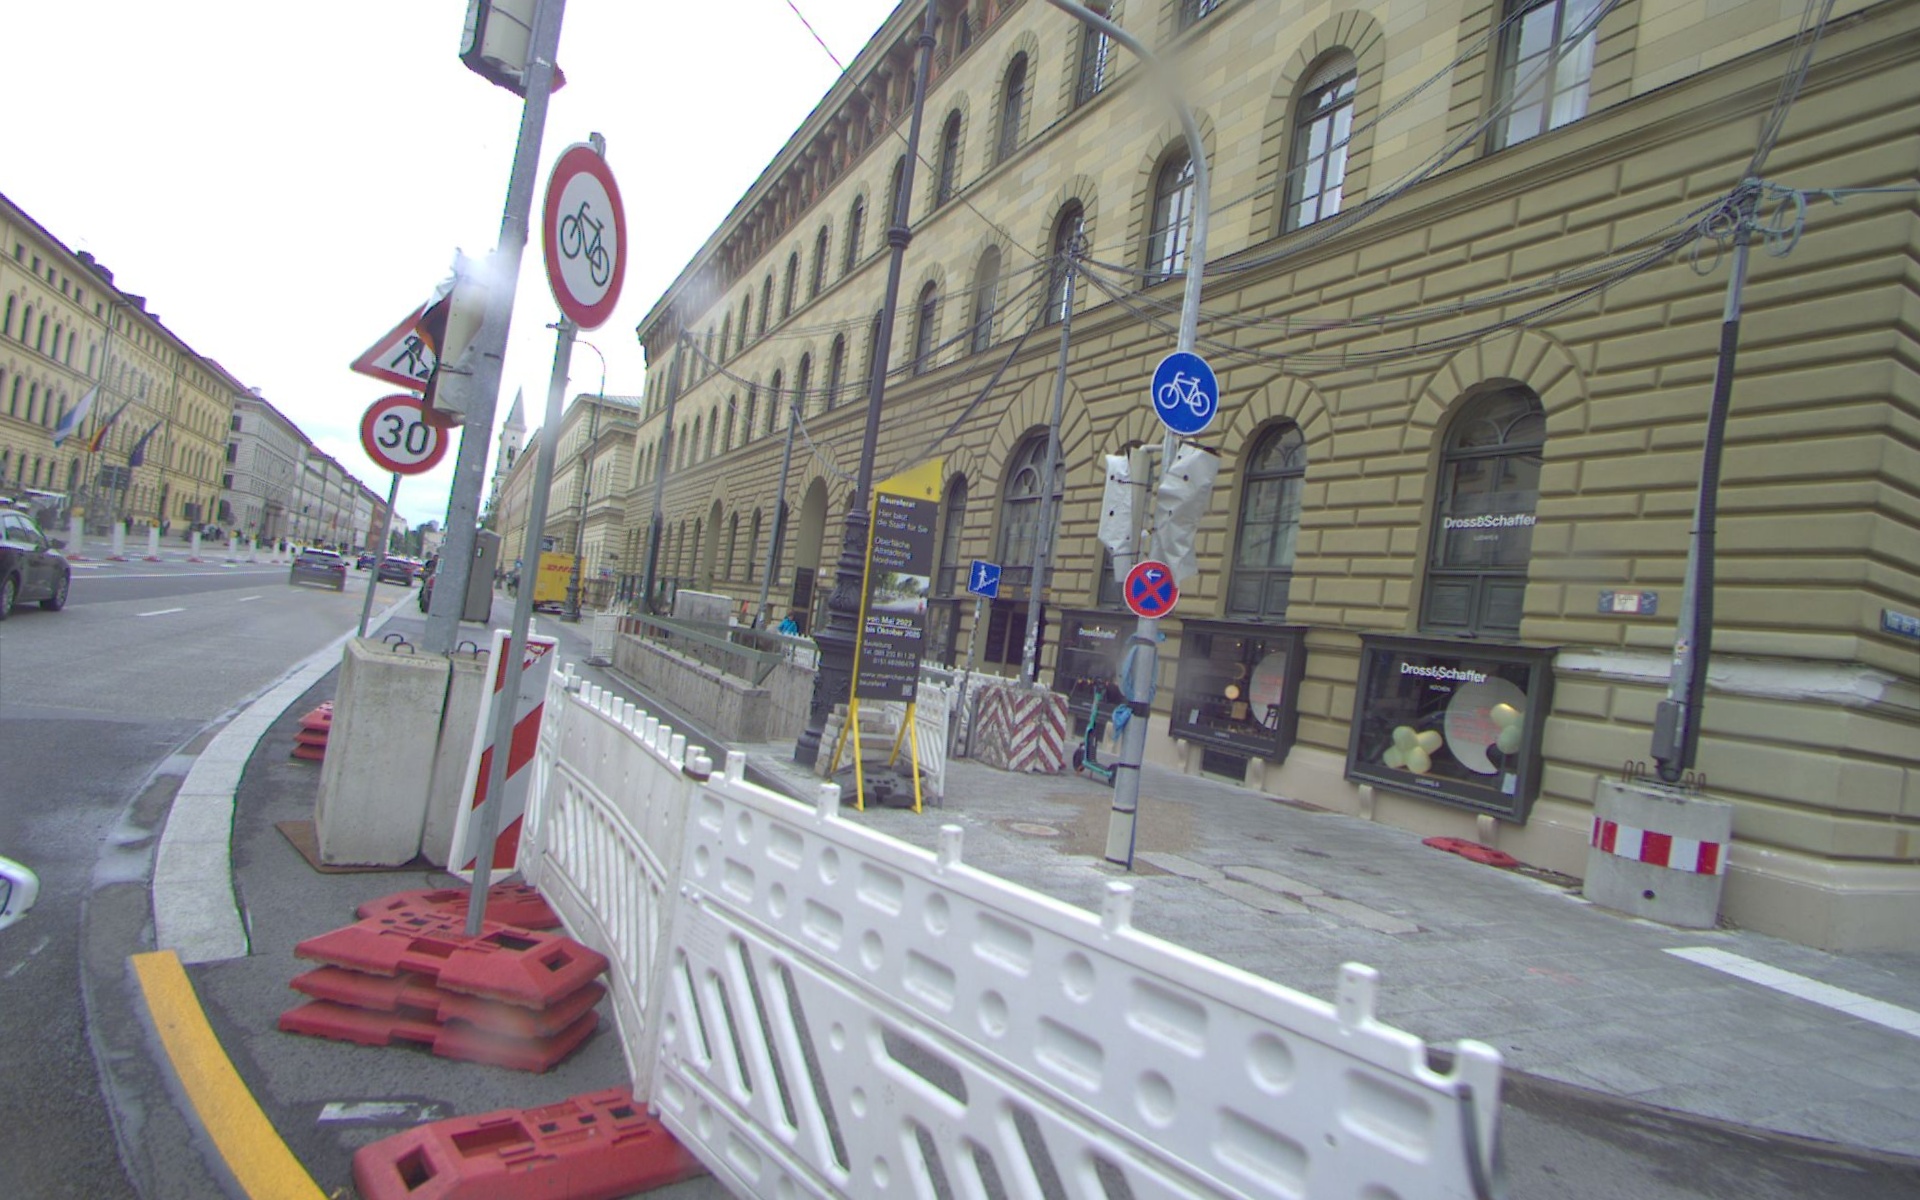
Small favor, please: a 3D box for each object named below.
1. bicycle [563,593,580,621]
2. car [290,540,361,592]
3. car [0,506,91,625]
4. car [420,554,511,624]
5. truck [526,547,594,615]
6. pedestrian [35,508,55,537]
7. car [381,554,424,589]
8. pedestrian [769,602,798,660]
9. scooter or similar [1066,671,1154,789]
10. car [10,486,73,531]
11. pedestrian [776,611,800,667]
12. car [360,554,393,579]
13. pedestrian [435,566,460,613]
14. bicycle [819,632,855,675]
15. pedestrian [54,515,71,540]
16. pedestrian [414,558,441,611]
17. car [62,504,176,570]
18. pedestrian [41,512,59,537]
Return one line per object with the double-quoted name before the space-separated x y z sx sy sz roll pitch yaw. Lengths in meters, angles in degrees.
"bicycle" -15.531 0.286 40.238 0.513 1.033 1.644 8 -3 -20
"car" -24.453 -1.251 38.904 1.754 1.634 3.976 9 -3 -26
"car" -13.380 -0.616 13.477 1.852 1.403 3.967 10 -3 -32
"car" -15.236 -0.373 30.873 2.055 1.680 4.192 10 -3 -29
"truck" -19.805 -0.865 49.630 2.598 2.794 5.779 9 -3 -23
"pedestrian" -53.229 -4.493 58.514 0.548 1.547 0.613 9 -3 -31
"car" -34.245 -1.753 61.882 1.977 1.792 3.975 9 -2 -27
"pedestrian" -5.459 0.971 31.132 0.549 1.731 0.677 7 -2 -1
"scooter or similar" 1.804 1.548 12.200 0.347 1.263 1.134 8 -3 -24
"car" -58.681 -5.813 64.347 1.724 2.313 3.976 9 -3 -26
"pedestrian" -5.031 1.143 29.439 0.492 1.571 0.631 8 -2 -9
"car" -49.913 -2.865 86.120 1.977 1.792 3.975 9 -2 -27
"pedestrian" -19.555 -0.396 38.365 0.610 1.721 0.538 8 -2 -24
"bicycle" -3.381 1.454 27.543 0.373 1.034 1.641 8 -2 -24
"pedestrian" -55.588 -4.503 62.308 0.536 1.426 0.613 9 -3 -31
"pedestrian" -20.166 -0.578 38.090 0.610 1.895 0.539 8 -2 -23
"car" -26.914 -1.952 32.355 1.754 1.634 3.976 9 -3 -26
"pedestrian" -56.114 -4.664 62.011 0.536 1.422 0.613 9 -3 -31
